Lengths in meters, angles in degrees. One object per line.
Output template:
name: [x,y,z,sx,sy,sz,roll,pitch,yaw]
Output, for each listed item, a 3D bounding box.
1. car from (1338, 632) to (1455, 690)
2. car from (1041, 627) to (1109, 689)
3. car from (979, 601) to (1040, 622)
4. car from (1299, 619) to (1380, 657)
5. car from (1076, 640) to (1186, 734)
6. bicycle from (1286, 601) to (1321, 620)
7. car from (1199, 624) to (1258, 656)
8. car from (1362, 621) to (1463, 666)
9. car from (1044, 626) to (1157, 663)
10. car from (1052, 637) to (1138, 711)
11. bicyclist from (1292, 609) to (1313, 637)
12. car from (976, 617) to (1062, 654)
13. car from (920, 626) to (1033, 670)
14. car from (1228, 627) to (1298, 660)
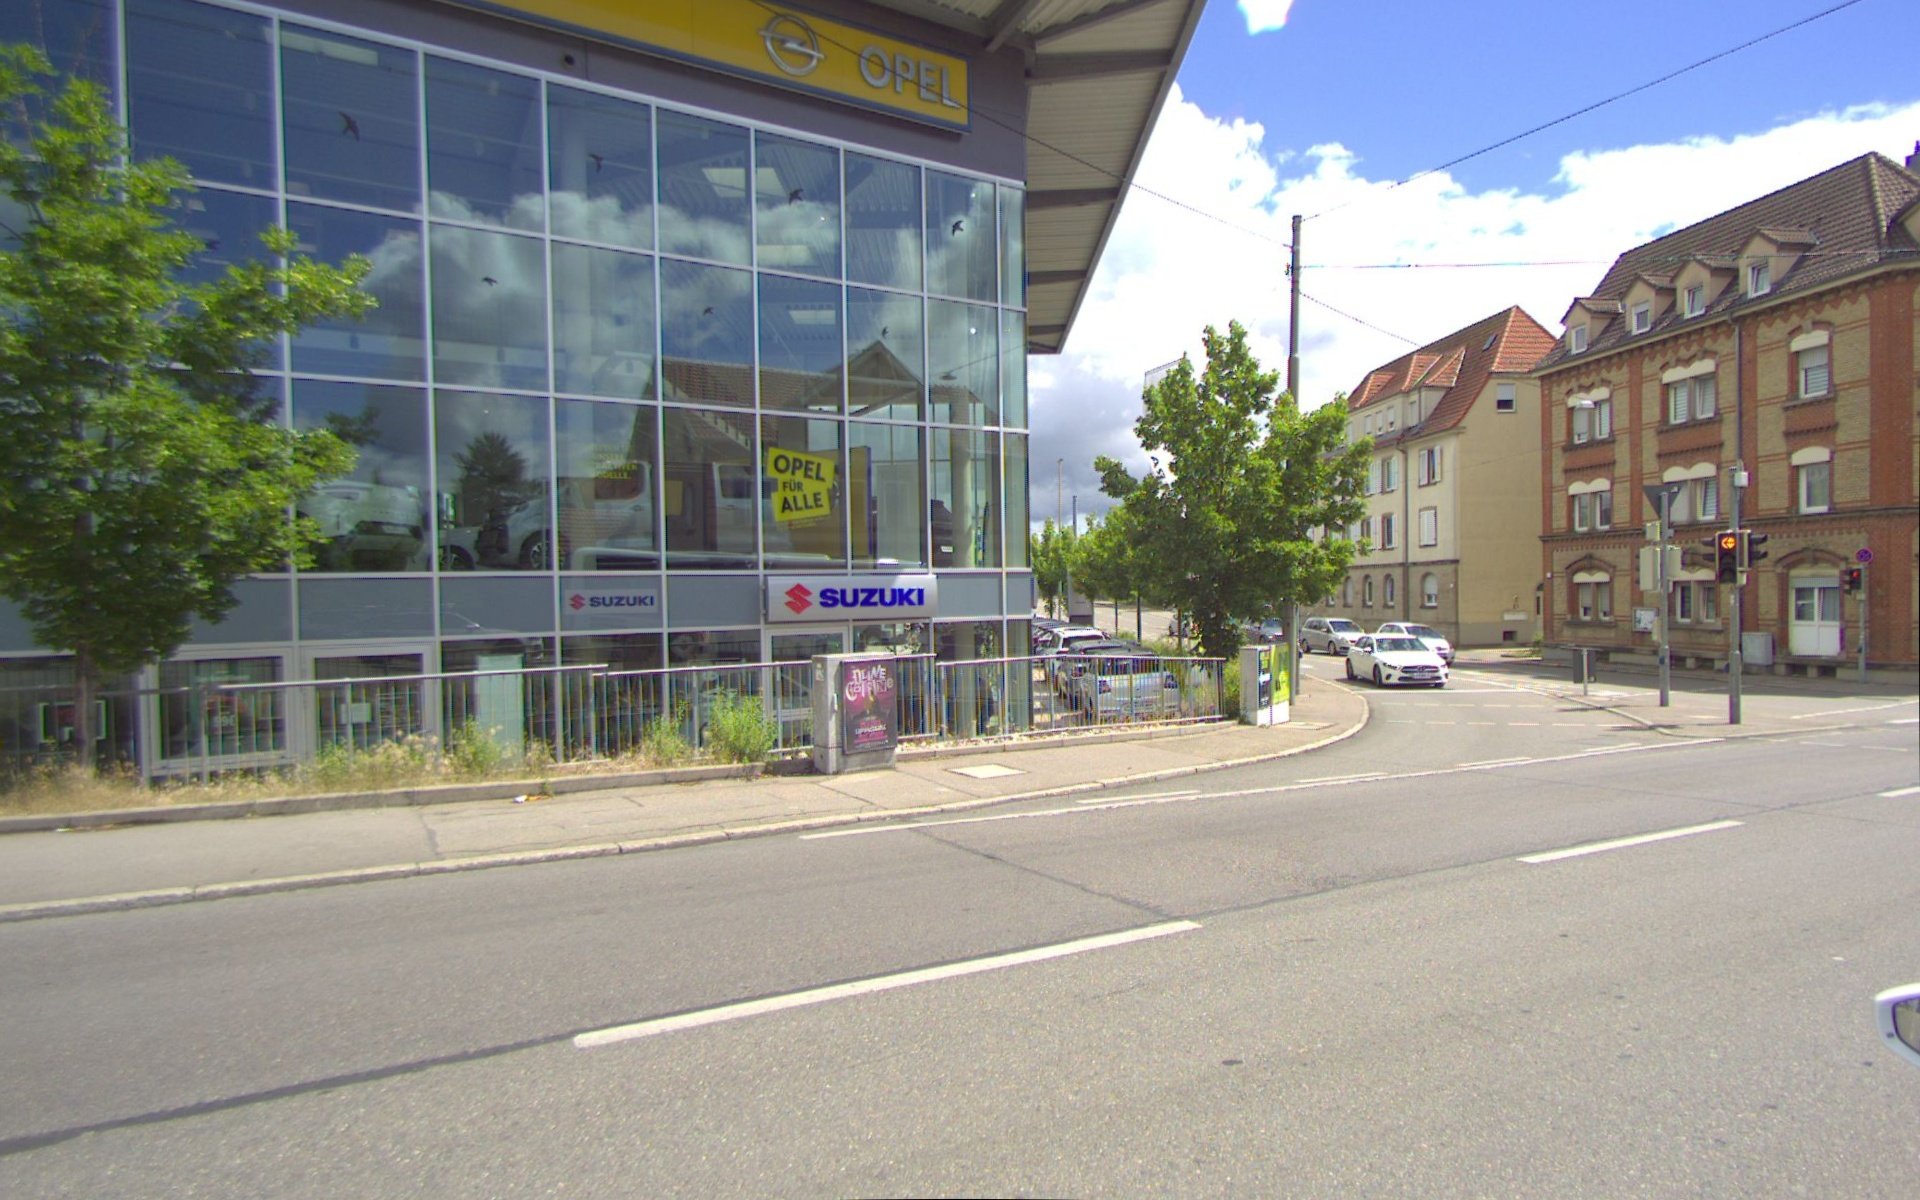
car: [12.364,1.684,28.761,1.825,1.466,4.394,1,-1,6]
car: [3.275,1.634,29.079,1.487,1.596,3.414,1,-1,-2]
car: [3.233,0.752,66.217,3.921,1.311,1.818,1,-1,0]
car: [16.730,1.640,44.500,1.715,1.539,3.996,1,-1,-7]
car: [3.391,1.690,20.537,1.720,1.596,3.687,2,-1,2]
bicycle: [19.145,0.592,56.087,0.597,1.033,2.181,1,-1,-21]
car: [14.845,2.193,55.715,1.961,1.607,4.345,1,0,-2]
car: [17.057,1.607,38.075,1.670,1.517,3.995,1,-1,-7]
car: [5.161,1.634,37.196,3.921,1.202,1.818,1,-1,0]
car: [3.226,1.755,24.685,1.487,1.543,3.792,1,-1,-2]
bicyclist: [19.131,1.274,56.108,0.581,1.519,1.069,1,-1,-21]
car: [2.642,1.585,45.854,1.974,1.599,4.476,1,-1,-26]
car: [0.624,1.743,37.214,3.919,1.478,1.605,1,-1,15]
car: [15.326,2.183,51.006,1.963,1.539,3.996,1,-1,-7]
